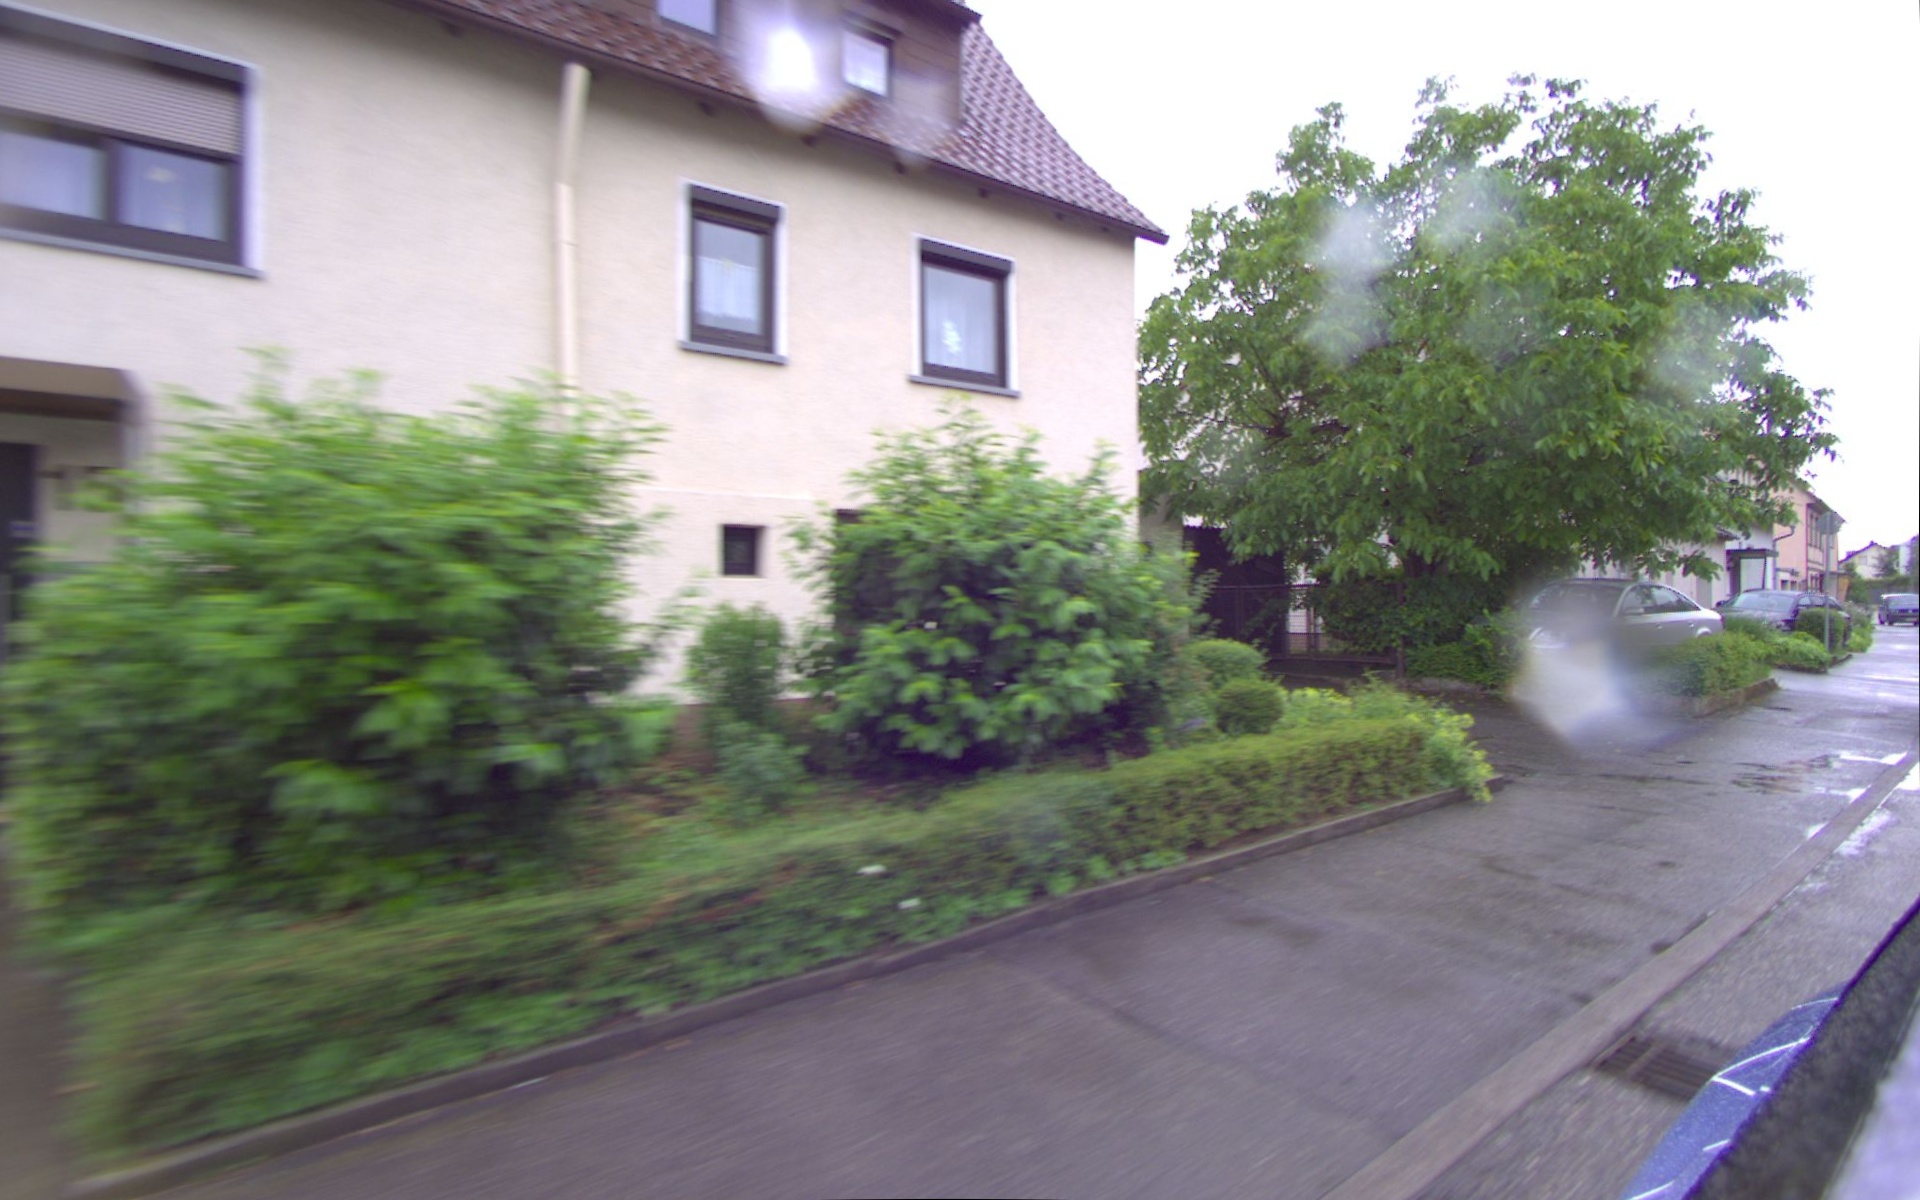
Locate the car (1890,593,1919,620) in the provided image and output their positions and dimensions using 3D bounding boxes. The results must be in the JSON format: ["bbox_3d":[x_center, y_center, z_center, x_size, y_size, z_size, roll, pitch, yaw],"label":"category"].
[{"bbox_3d":[58.253,0.370,61.780,1.991,1.550,3.940,-3,-2,42],"label":"car"}]

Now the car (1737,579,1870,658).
[{"bbox_3d":[19.742,0.388,23.637,4.003,1.675,1.994,0,0,-45],"label":"car"}]

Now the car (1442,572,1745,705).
[{"bbox_3d":[9.498,0.497,15.121,4.388,1.732,1.916,0,0,-28],"label":"car"}]
